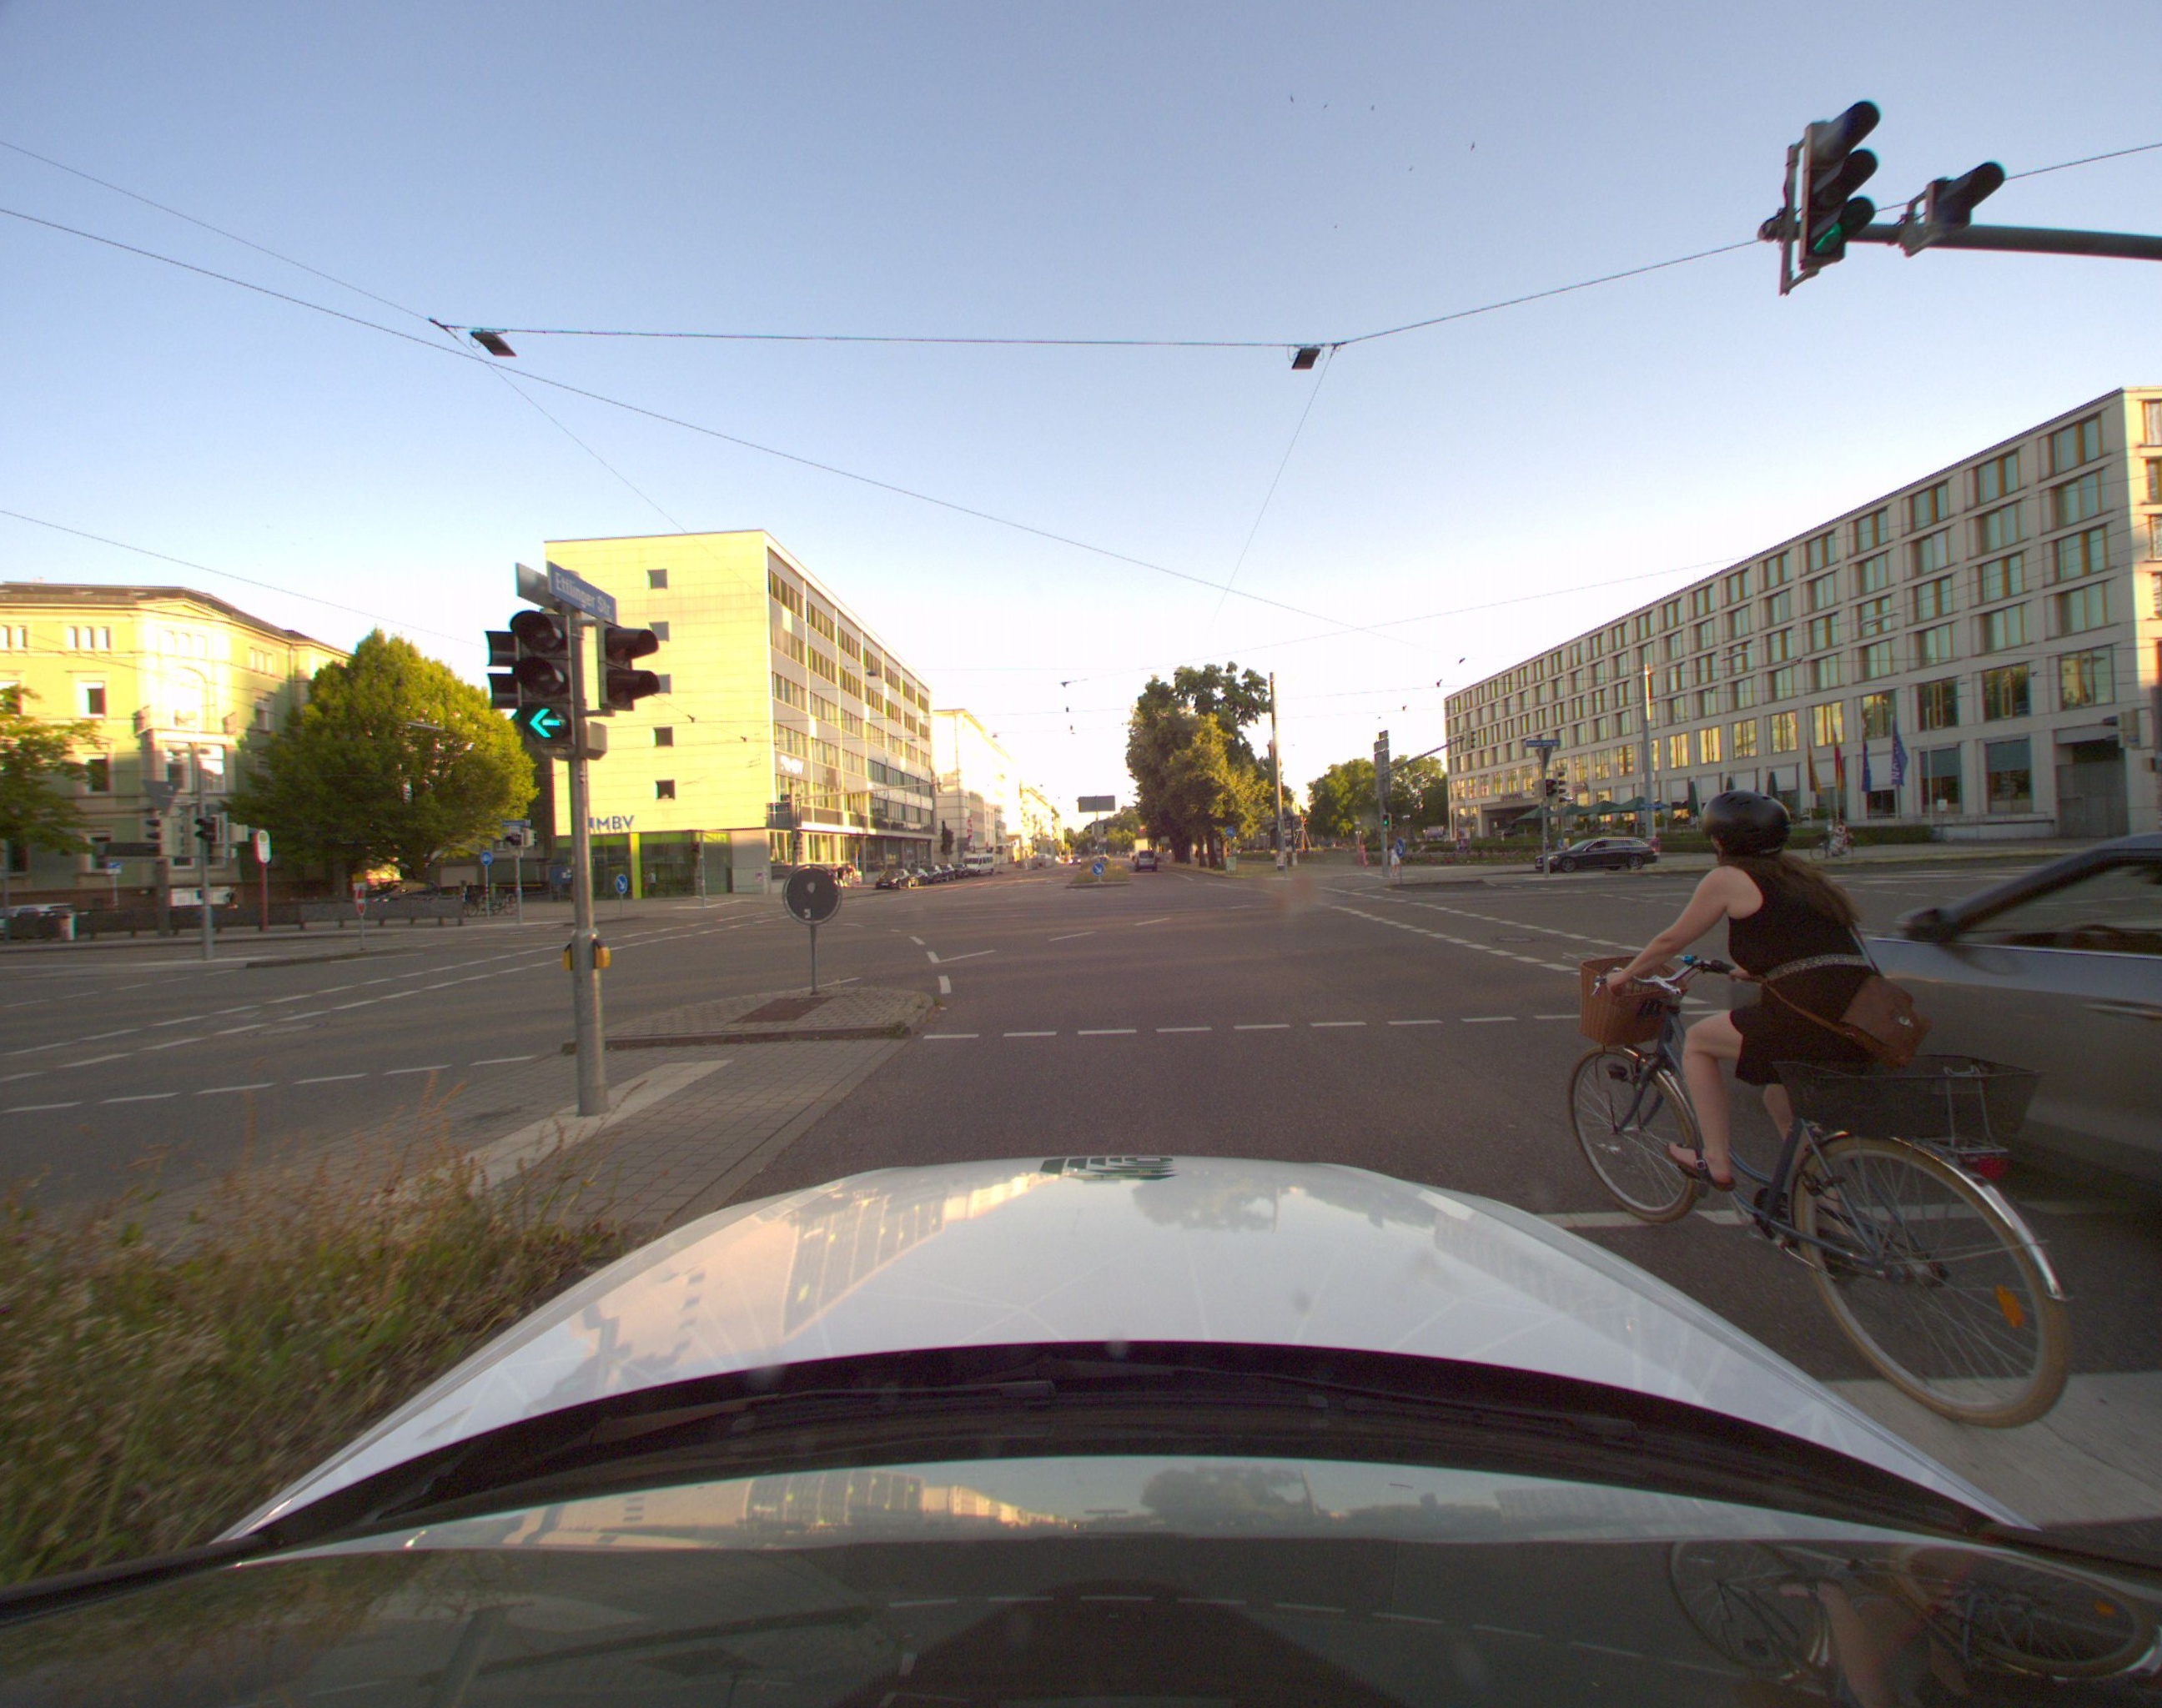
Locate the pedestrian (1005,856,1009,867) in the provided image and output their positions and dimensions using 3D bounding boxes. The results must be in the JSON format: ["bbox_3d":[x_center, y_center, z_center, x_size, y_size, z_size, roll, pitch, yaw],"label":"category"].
[{"bbox_3d":[-14.805,1.495,162.825,0.677,2.013,0.545,-3,0,1],"label":"pedestrian"}]

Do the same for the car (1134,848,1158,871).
[{"bbox_3d":[5.622,0.486,70.708,1.757,1.888,4.501,-3,0,1],"label":"car"}]

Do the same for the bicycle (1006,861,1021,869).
[{"bbox_3d":[-10.197,1.710,123.293,2.198,1.112,0.619,-3,0,0],"label":"bicycle"}]

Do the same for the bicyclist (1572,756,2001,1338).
[{"bbox_3d":[2.293,0.545,2.802,0.597,1.636,0.999,-1,0,2],"label":"bicyclist"}]

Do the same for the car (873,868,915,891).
[{"bbox_3d":[-13.676,1.853,59.722,1.914,1.464,4.105,-3,0,2],"label":"car"}]

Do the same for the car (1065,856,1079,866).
[{"bbox_3d":[-1.392,1.045,126.284,1.855,1.519,4.002,-3,0,2],"label":"car"}]

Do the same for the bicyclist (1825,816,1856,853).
[{"bbox_3d":[32.099,-0.809,34.426,0.705,1.537,0.577,-3,-1,-1],"label":"bicyclist"}]

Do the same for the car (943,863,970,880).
[{"bbox_3d":[-12.581,1.712,82.626,1.914,1.568,4.001,-3,0,2],"label":"car"}]

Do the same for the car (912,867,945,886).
[{"bbox_3d":[-13.286,1.913,71.100,1.914,1.464,4.001,-3,0,2],"label":"car"}]

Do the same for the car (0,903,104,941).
[{"bbox_3d":[-45.216,2.968,35.043,3.588,1.372,1.833,-3,0,-15],"label":"car"}]

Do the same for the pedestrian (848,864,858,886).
[{"bbox_3d":[-17.280,1.602,61.785,0.549,1.679,0.500,-3,0,1],"label":"pedestrian"}]

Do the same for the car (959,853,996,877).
[{"bbox_3d":[-11.264,1.153,89.064,1.988,2.478,5.887,-3,0,12],"label":"car"}]

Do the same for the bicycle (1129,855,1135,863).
[{"bbox_3d":[8.174,0.803,130.146,0.744,1.144,2.506,-3,0,2],"label":"bicycle"}]

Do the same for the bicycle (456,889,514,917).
[{"bbox_3d":[-26.997,2.215,36.938,0.832,1.112,2.216,-3,0,6],"label":"bicycle"}]

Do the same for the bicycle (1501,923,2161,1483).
[{"bbox_3d":[2.298,0.897,2.900,0.609,1.132,2.005,-1,0,2],"label":"bicycle"}]

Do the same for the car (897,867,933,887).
[{"bbox_3d":[-13.487,1.861,66.287,1.914,1.464,4.001,-3,0,2],"label":"car"}]

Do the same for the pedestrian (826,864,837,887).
[{"bbox_3d":[-18.920,1.649,61.726,0.549,1.679,0.500,-3,0,1],"label":"pedestrian"}]

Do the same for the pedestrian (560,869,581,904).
[{"bbox_3d":[-26.673,1.702,42.557,0.641,1.790,0.720,-3,0,-13],"label":"pedestrian"}]

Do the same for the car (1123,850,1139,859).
[{"bbox_3d":[13.185,0.137,214.404,3.977,2.013,1.998,-3,0,-3],"label":"car"}]

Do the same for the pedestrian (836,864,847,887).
[{"bbox_3d":[-18.330,1.652,62.328,0.549,1.679,0.500,-3,0,1],"label":"pedestrian"}]

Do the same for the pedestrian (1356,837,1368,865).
[{"bbox_3d":[16.935,-0.156,49.051,0.458,1.656,0.567,-3,0,1],"label":"pedestrian"}]

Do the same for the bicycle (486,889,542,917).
[{"bbox_3d":[-25.866,2.218,37.207,0.832,1.112,2.216,-3,0,6],"label":"bicycle"}]

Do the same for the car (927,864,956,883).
[{"bbox_3d":[-13.041,1.820,76.402,1.914,1.568,4.001,-3,0,2],"label":"car"}]

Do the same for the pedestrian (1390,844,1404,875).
[{"bbox_3d":[15.640,0.272,40.349,0.489,1.540,0.408,-3,0,1],"label":"pedestrian"}]

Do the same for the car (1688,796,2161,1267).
[{"bbox_3d":[4.599,0.585,2.919,1.771,1.627,4.217,-2,0,2],"label":"car"}]

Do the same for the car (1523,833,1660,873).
[{"bbox_3d":[22.869,-0.044,36.650,4.803,1.515,2.002,-3,0,3],"label":"car"}]

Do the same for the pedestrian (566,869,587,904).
[{"bbox_3d":[-26.819,1.704,43.285,0.641,1.790,0.720,-3,0,-12],"label":"pedestrian"}]

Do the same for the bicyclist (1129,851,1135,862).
[{"bbox_3d":[8.136,0.377,129.915,0.744,1.663,0.873,-3,0,1],"label":"bicyclist"}]

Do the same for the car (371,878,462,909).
[{"bbox_3d":[-35.443,2.080,43.532,1.830,1.372,3.593,-3,0,0],"label":"car"}]

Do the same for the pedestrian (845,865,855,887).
[{"bbox_3d":[-17.700,1.679,62.334,0.498,1.679,0.500,-3,0,1],"label":"pedestrian"}]

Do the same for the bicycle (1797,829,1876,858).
[{"bbox_3d":[31.908,-0.433,34.422,2.762,1.106,0.602,-3,0,-1],"label":"bicycle"}]
